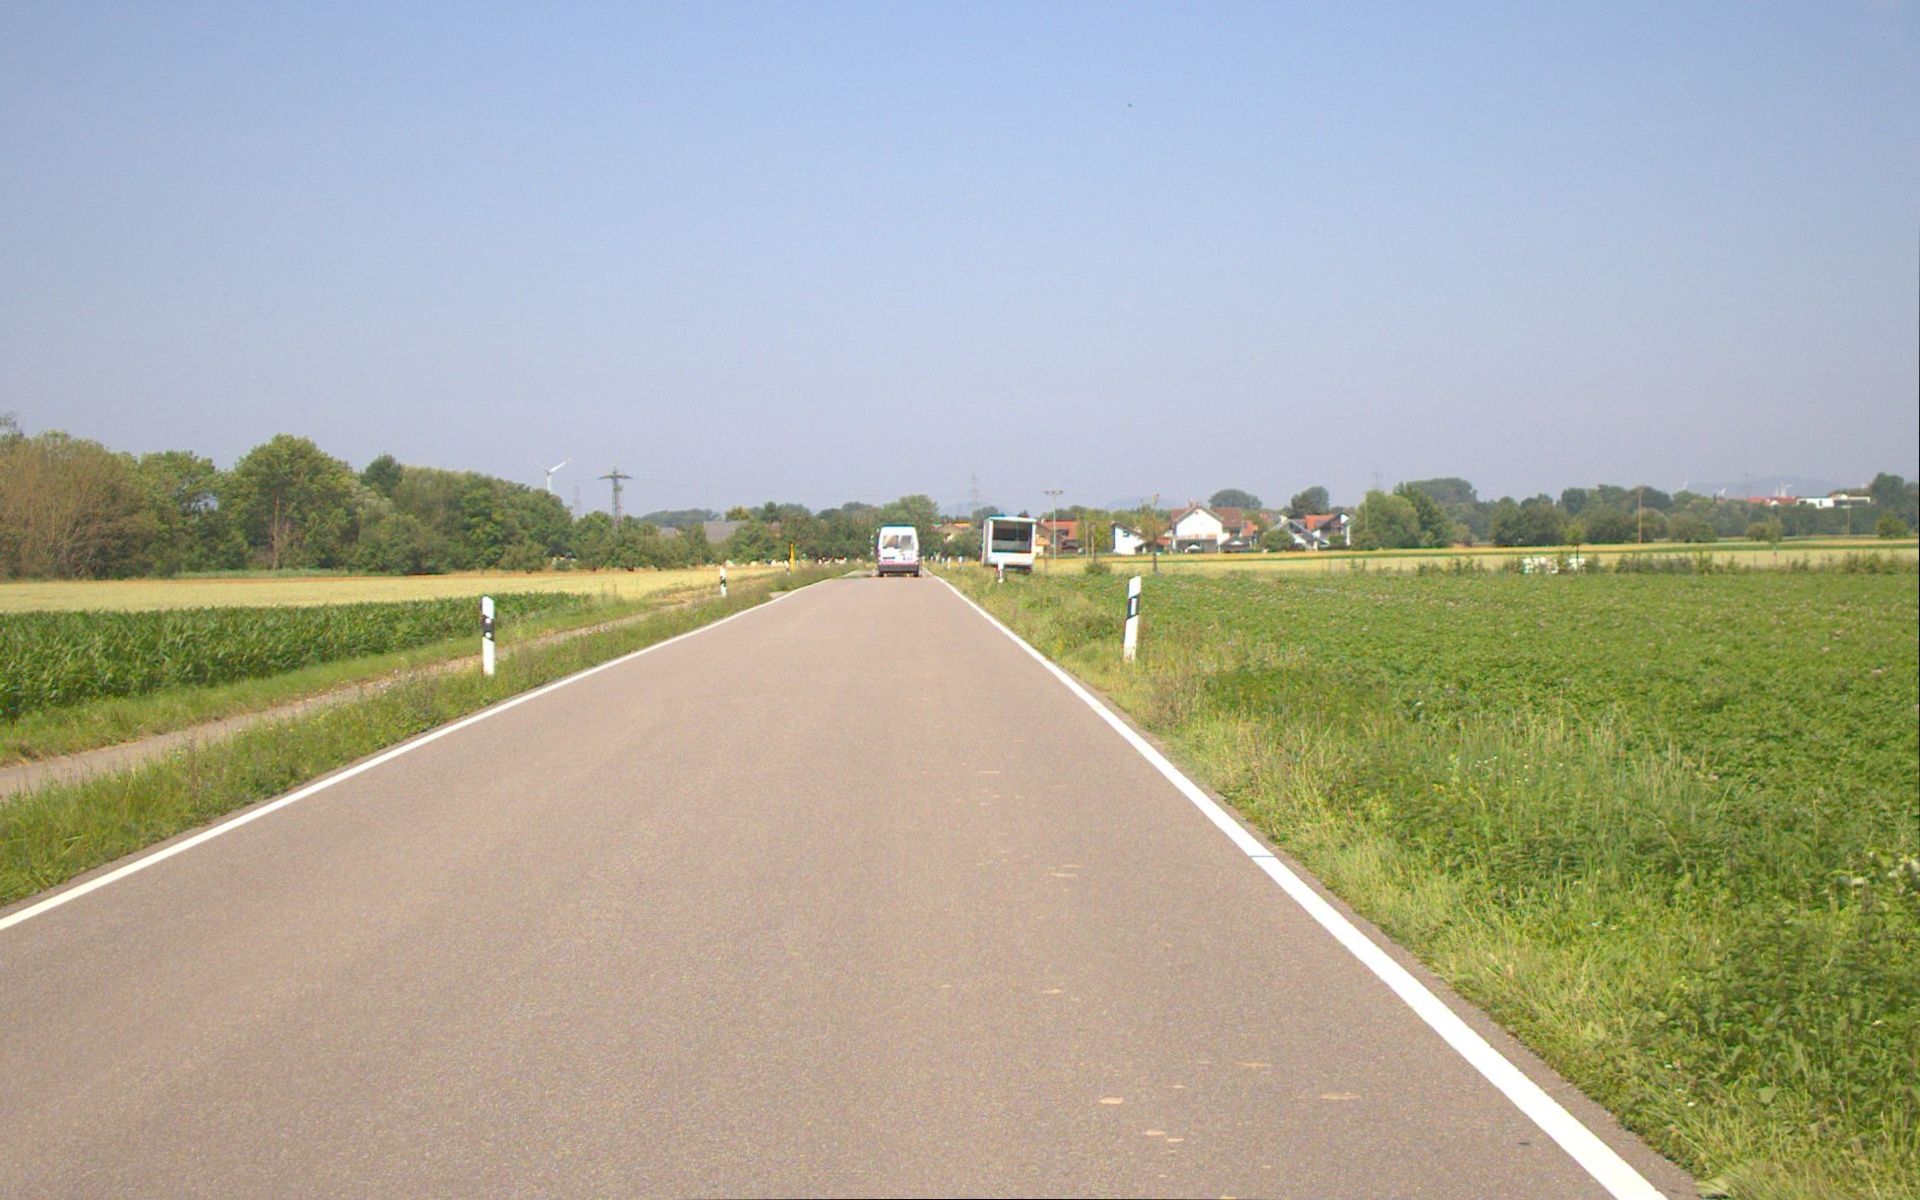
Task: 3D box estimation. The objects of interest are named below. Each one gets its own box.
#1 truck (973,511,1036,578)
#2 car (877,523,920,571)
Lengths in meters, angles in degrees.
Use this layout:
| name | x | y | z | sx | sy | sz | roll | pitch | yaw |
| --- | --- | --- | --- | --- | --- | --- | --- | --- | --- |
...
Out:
| name | x | y | z | sx | sy | sz | roll | pitch | yaw |
| --- | --- | --- | --- | --- | --- | --- | --- | --- | --- |
| truck | 2.032 | -2.546 | 159.134 | 2.335 | 2.932 | 7.009 | 2 | 0 | -3 |
| car | -3.050 | -2.624 | 170.391 | 2.107 | 2.296 | 5.496 | 1 | 1 | -1 |
